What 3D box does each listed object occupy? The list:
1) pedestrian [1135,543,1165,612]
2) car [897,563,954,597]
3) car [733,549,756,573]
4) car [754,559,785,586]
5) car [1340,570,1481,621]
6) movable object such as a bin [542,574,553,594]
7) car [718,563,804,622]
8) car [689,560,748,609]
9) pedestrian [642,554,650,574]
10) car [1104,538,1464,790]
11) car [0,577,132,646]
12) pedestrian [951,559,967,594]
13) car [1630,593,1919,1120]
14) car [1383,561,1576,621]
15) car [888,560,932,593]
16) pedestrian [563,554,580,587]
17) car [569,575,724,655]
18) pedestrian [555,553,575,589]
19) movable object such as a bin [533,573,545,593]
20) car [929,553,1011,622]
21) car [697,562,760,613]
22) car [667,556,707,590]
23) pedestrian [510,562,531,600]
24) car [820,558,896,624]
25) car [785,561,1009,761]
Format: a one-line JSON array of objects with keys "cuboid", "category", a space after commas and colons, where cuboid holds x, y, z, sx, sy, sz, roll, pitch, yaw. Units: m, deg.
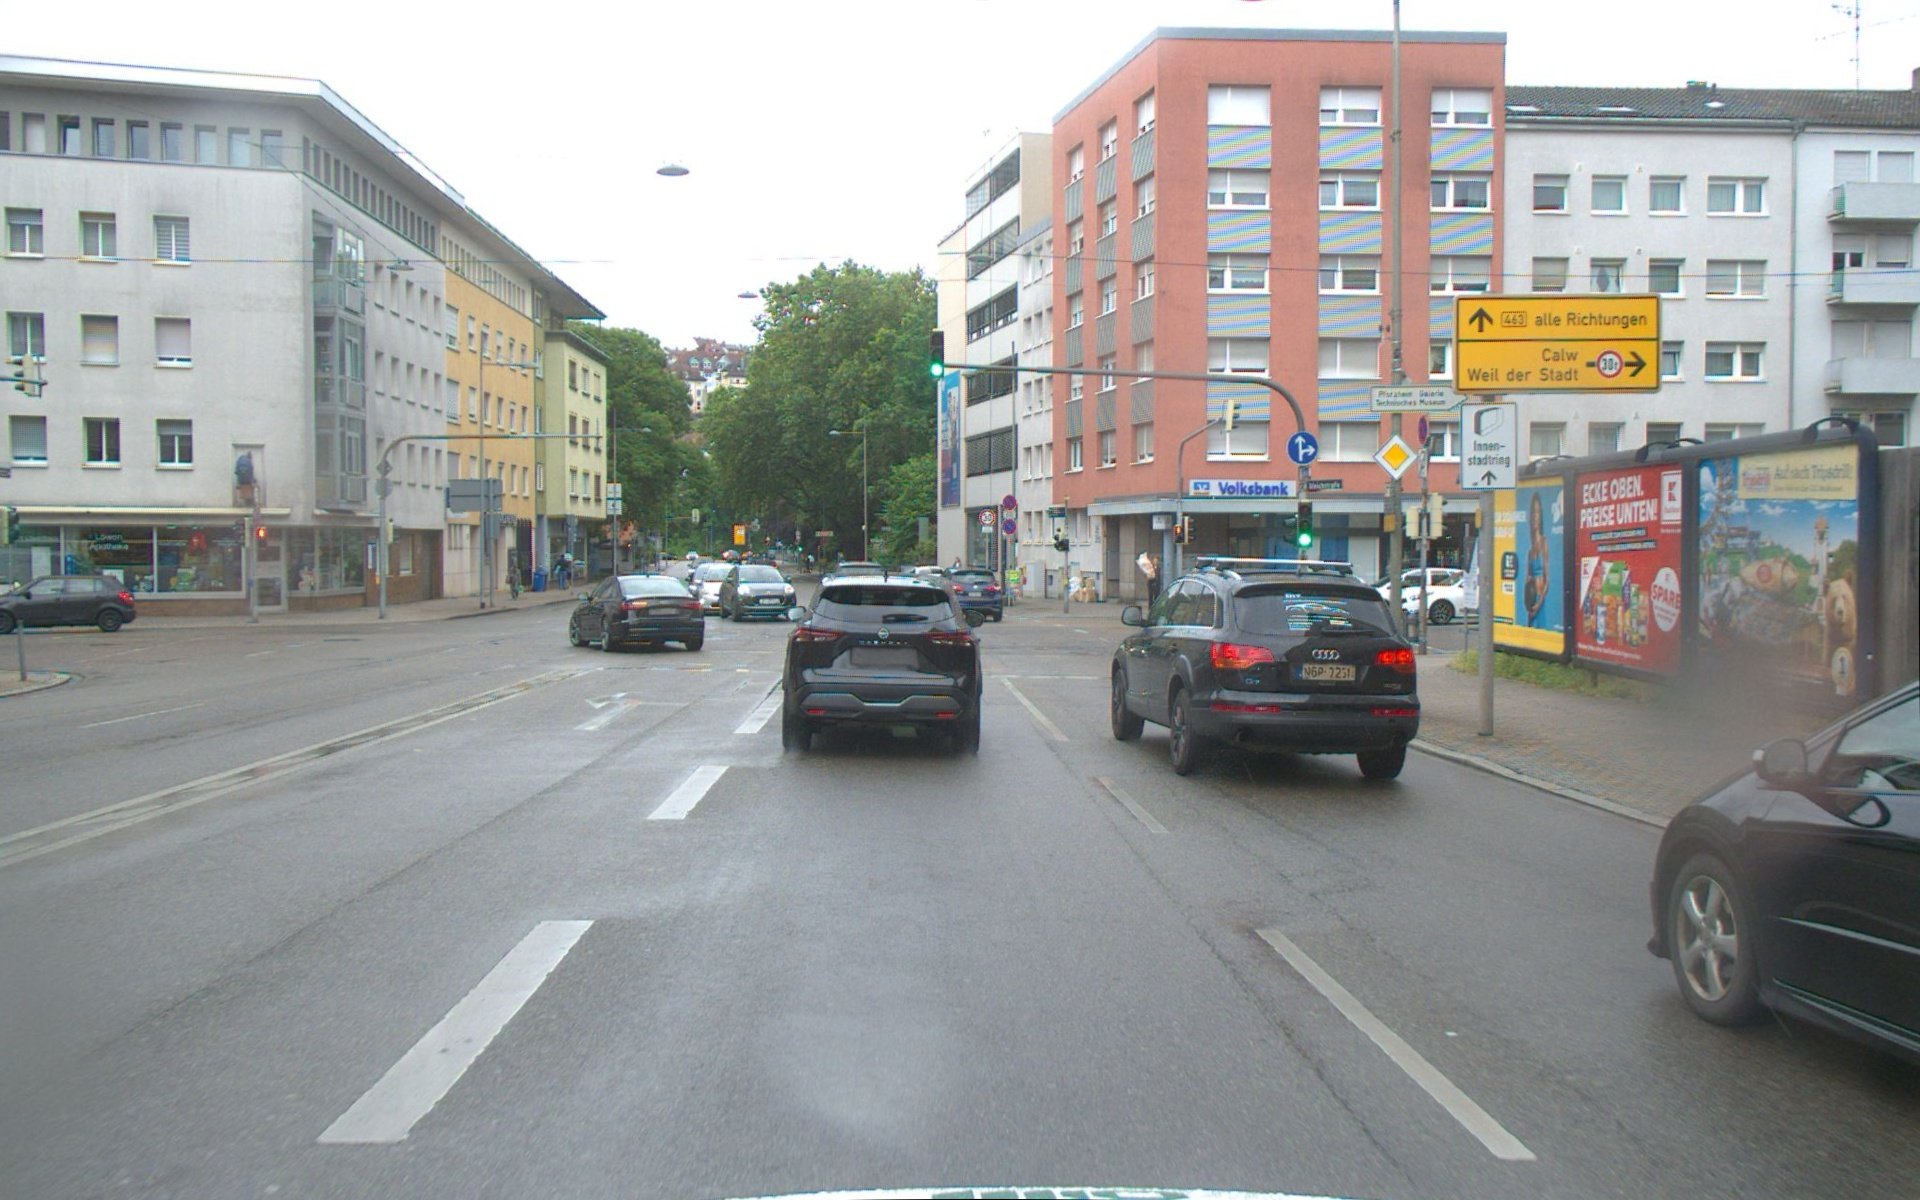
[{"cuboid": [6.201, -0.738, 54.034, 0.809, 2.195, 0.769, 1, 1, -4], "category": "pedestrian"}, {"cuboid": [-1.619, -0.942, 75.478, 1.743, 1.425, 4.567, -2, 2, -12], "category": "car"}, {"cuboid": [-17.000, -3.068, 130.532, 1.786, 1.827, 3.860, 1, 2, -7], "category": "car"}, {"cuboid": [-12.359, -1.772, 107.107, 1.787, 1.640, 3.858, 1, 2, -9], "category": "car"}, {"cuboid": [13.901, -0.154, 51.110, 3.868, 1.512, 1.702, -1, 1, -4], "category": "car"}, {"cuboid": [-21.028, -0.807, 84.311, 0.391, 1.024, 0.545, 0, 2, -3], "category": "movable object such as a bin"}, {"cuboid": [-5.751, -0.247, 47.365, 1.826, 1.580, 4.209, -1, 1, -16], "category": "car"}, {"cuboid": [-8.432, -0.538, 58.031, 1.785, 1.636, 4.426, -1, 1, -5], "category": "car"}, {"cuboid": [-29.351, -3.389, 154.537, 0.656, 1.822, 0.718, 1, 1, -17], "category": "pedestrian"}, {"cuboid": [2.734, 0.463, 15.248, 1.981, 1.902, 4.895, 2, 1, -4], "category": "car"}, {"cuboid": [-23.541, 0.284, 42.584, 3.942, 1.655, 1.682, -2, 1, -28], "category": "car"}, {"cuboid": [-0.046, -1.193, 84.296, 0.602, 1.767, 0.678, -2, 1, -17], "category": "pedestrian"}, {"cuboid": [3.670, 0.761, 4.695, 1.748, 1.523, 4.054, 1, 0, -2], "category": "car"}, {"cuboid": [13.841, -0.265, 44.227, 4.560, 1.512, 1.918, -1, 1, -5], "category": "car"}, {"cuboid": [-2.492, -1.182, 81.916, 1.683, 1.467, 4.074, -2, 2, -9], "category": "car"}, {"cuboid": [-20.798, -1.581, 88.548, 0.783, 1.717, 0.815, 0, 1, -10], "category": "pedestrian"}, {"cuboid": [-6.224, 0.230, 32.416, 1.968, 1.412, 4.464, -1, 1, -25], "category": "car"}, {"cuboid": [-20.613, -1.514, 86.347, 0.848, 1.819, 0.874, 2, 1, -4], "category": "pedestrian"}, {"cuboid": [-20.849, -0.851, 81.936, 0.445, 0.945, 0.502, 0, 2, -3], "category": "movable object such as a bin"}, {"cuboid": [0.243, -0.394, 48.239, 1.908, 1.848, 3.995, -2, 1, -6], "category": "car"}, {"cuboid": [-7.429, -0.405, 52.912, 1.898, 1.553, 4.126, -1, 1, -9], "category": "car"}, {"cuboid": [-16.461, -1.647, 99.945, 1.954, 1.892, 3.997, 2, 2, -4], "category": "car"}, {"cuboid": [-18.706, -0.805, 70.434, 0.673, 1.608, 0.651, 2, 1, -3], "category": "pedestrian"}, {"cuboid": [-2.905, -0.279, 46.571, 1.908, 1.714, 3.995, -2, 1, -6], "category": "car"}, {"cuboid": [-0.688, 0.514, 16.069, 1.857, 1.657, 3.996, 2, 0, -5], "category": "car"}]
